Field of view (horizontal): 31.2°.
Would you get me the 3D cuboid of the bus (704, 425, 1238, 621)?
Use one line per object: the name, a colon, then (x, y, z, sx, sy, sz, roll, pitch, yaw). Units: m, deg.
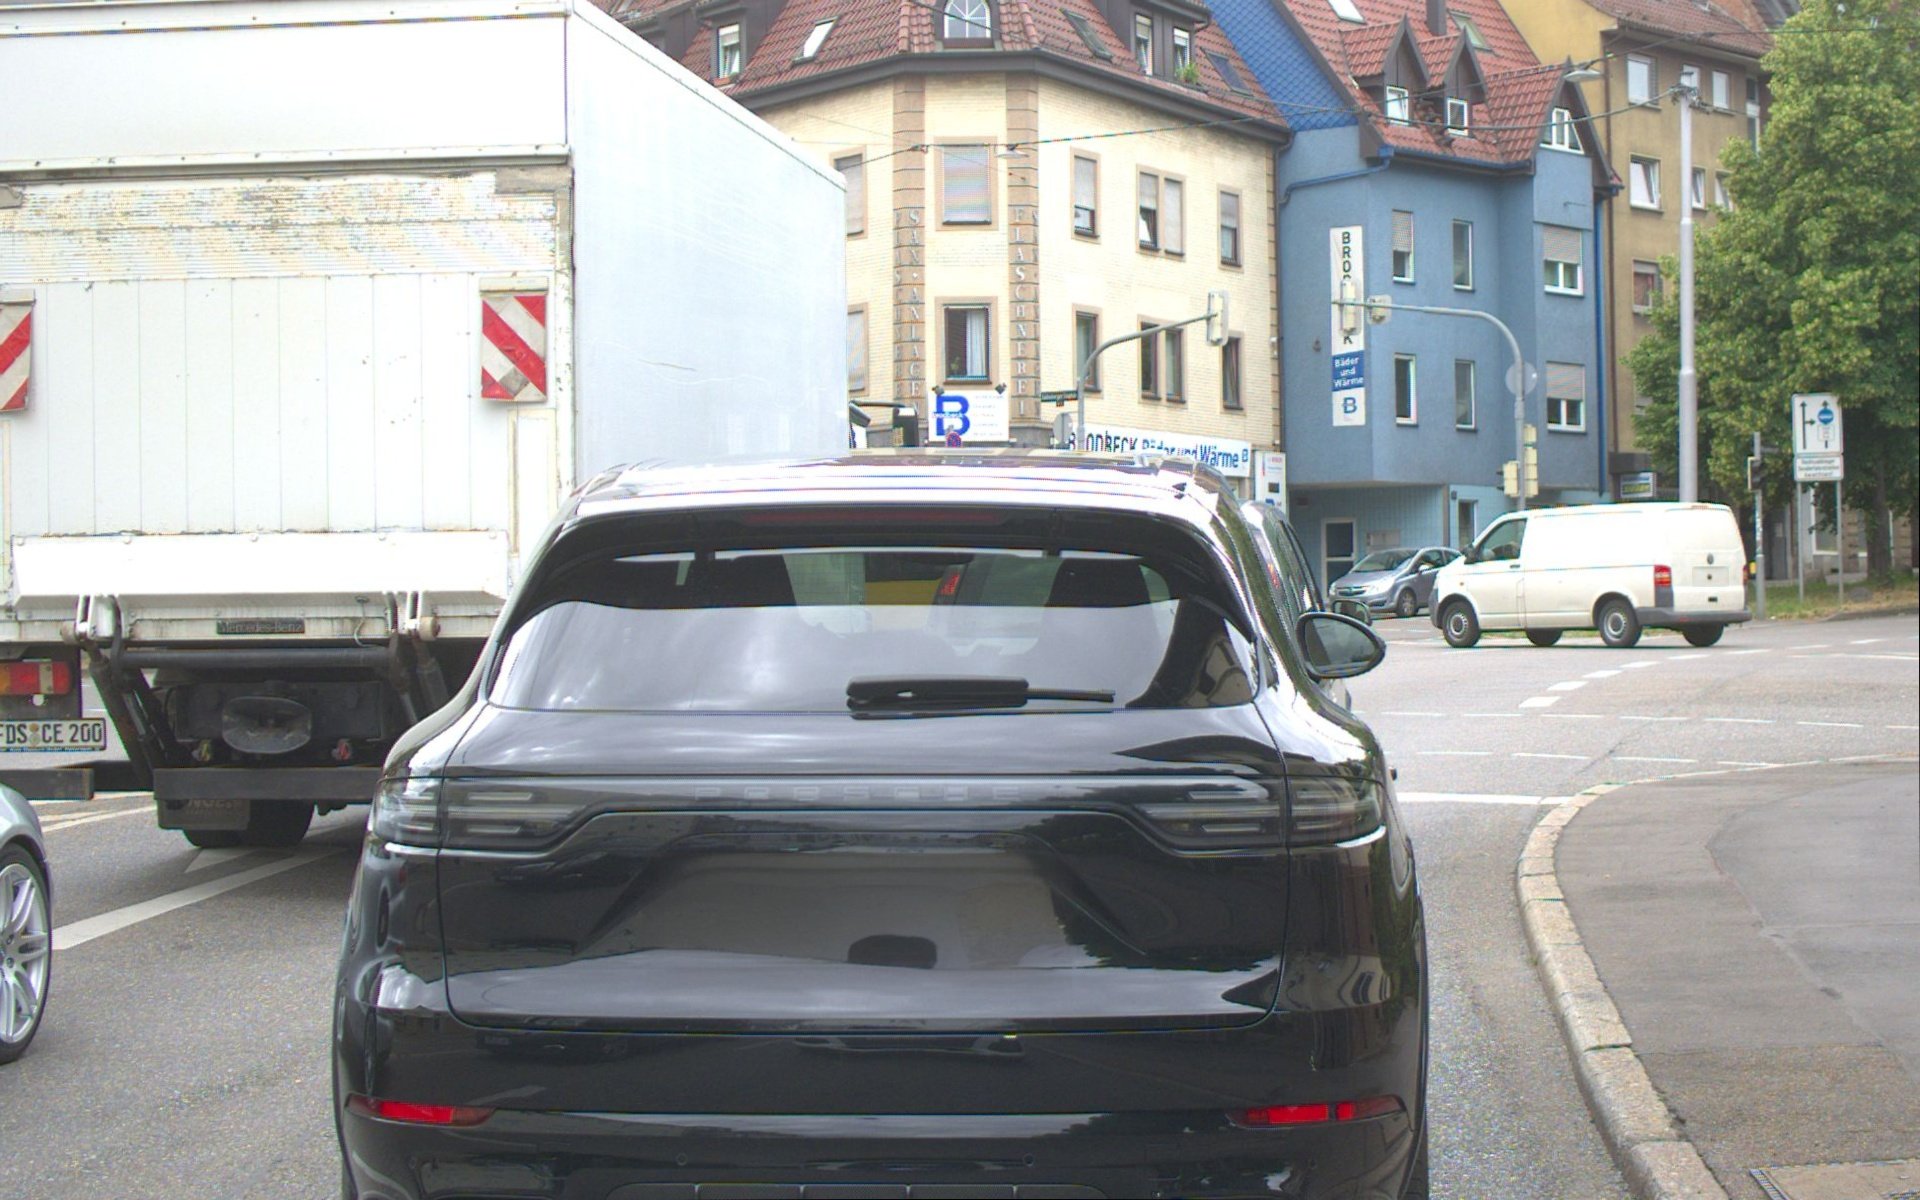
bus: (-0.138, -1.225, 60.328, 3.157, 3.085, 12.150, -2, 0, -33)

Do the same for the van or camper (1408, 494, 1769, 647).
van or camper: (8.657, -0.417, 47.731, 1.994, 2.007, 4.830, 0, 1, -37)

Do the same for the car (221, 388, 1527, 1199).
car: (-0.164, 0.487, 7.646, 2.031, 1.717, 4.500, 1, 1, -1)

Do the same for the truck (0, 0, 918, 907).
truck: (-2.204, -0.705, 17.348, 2.726, 3.532, 8.419, 1, 1, 8)

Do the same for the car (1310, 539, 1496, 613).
car: (9.188, -0.511, 71.087, 1.721, 1.471, 4.208, 1, 2, 42)

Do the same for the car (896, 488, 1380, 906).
car: (0.880, 0.345, 14.771, 1.649, 1.550, 3.581, 1, 1, 10)

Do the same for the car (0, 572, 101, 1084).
car: (-3.490, 0.652, 8.015, 1.629, 1.360, 4.128, -1, 1, 5)
